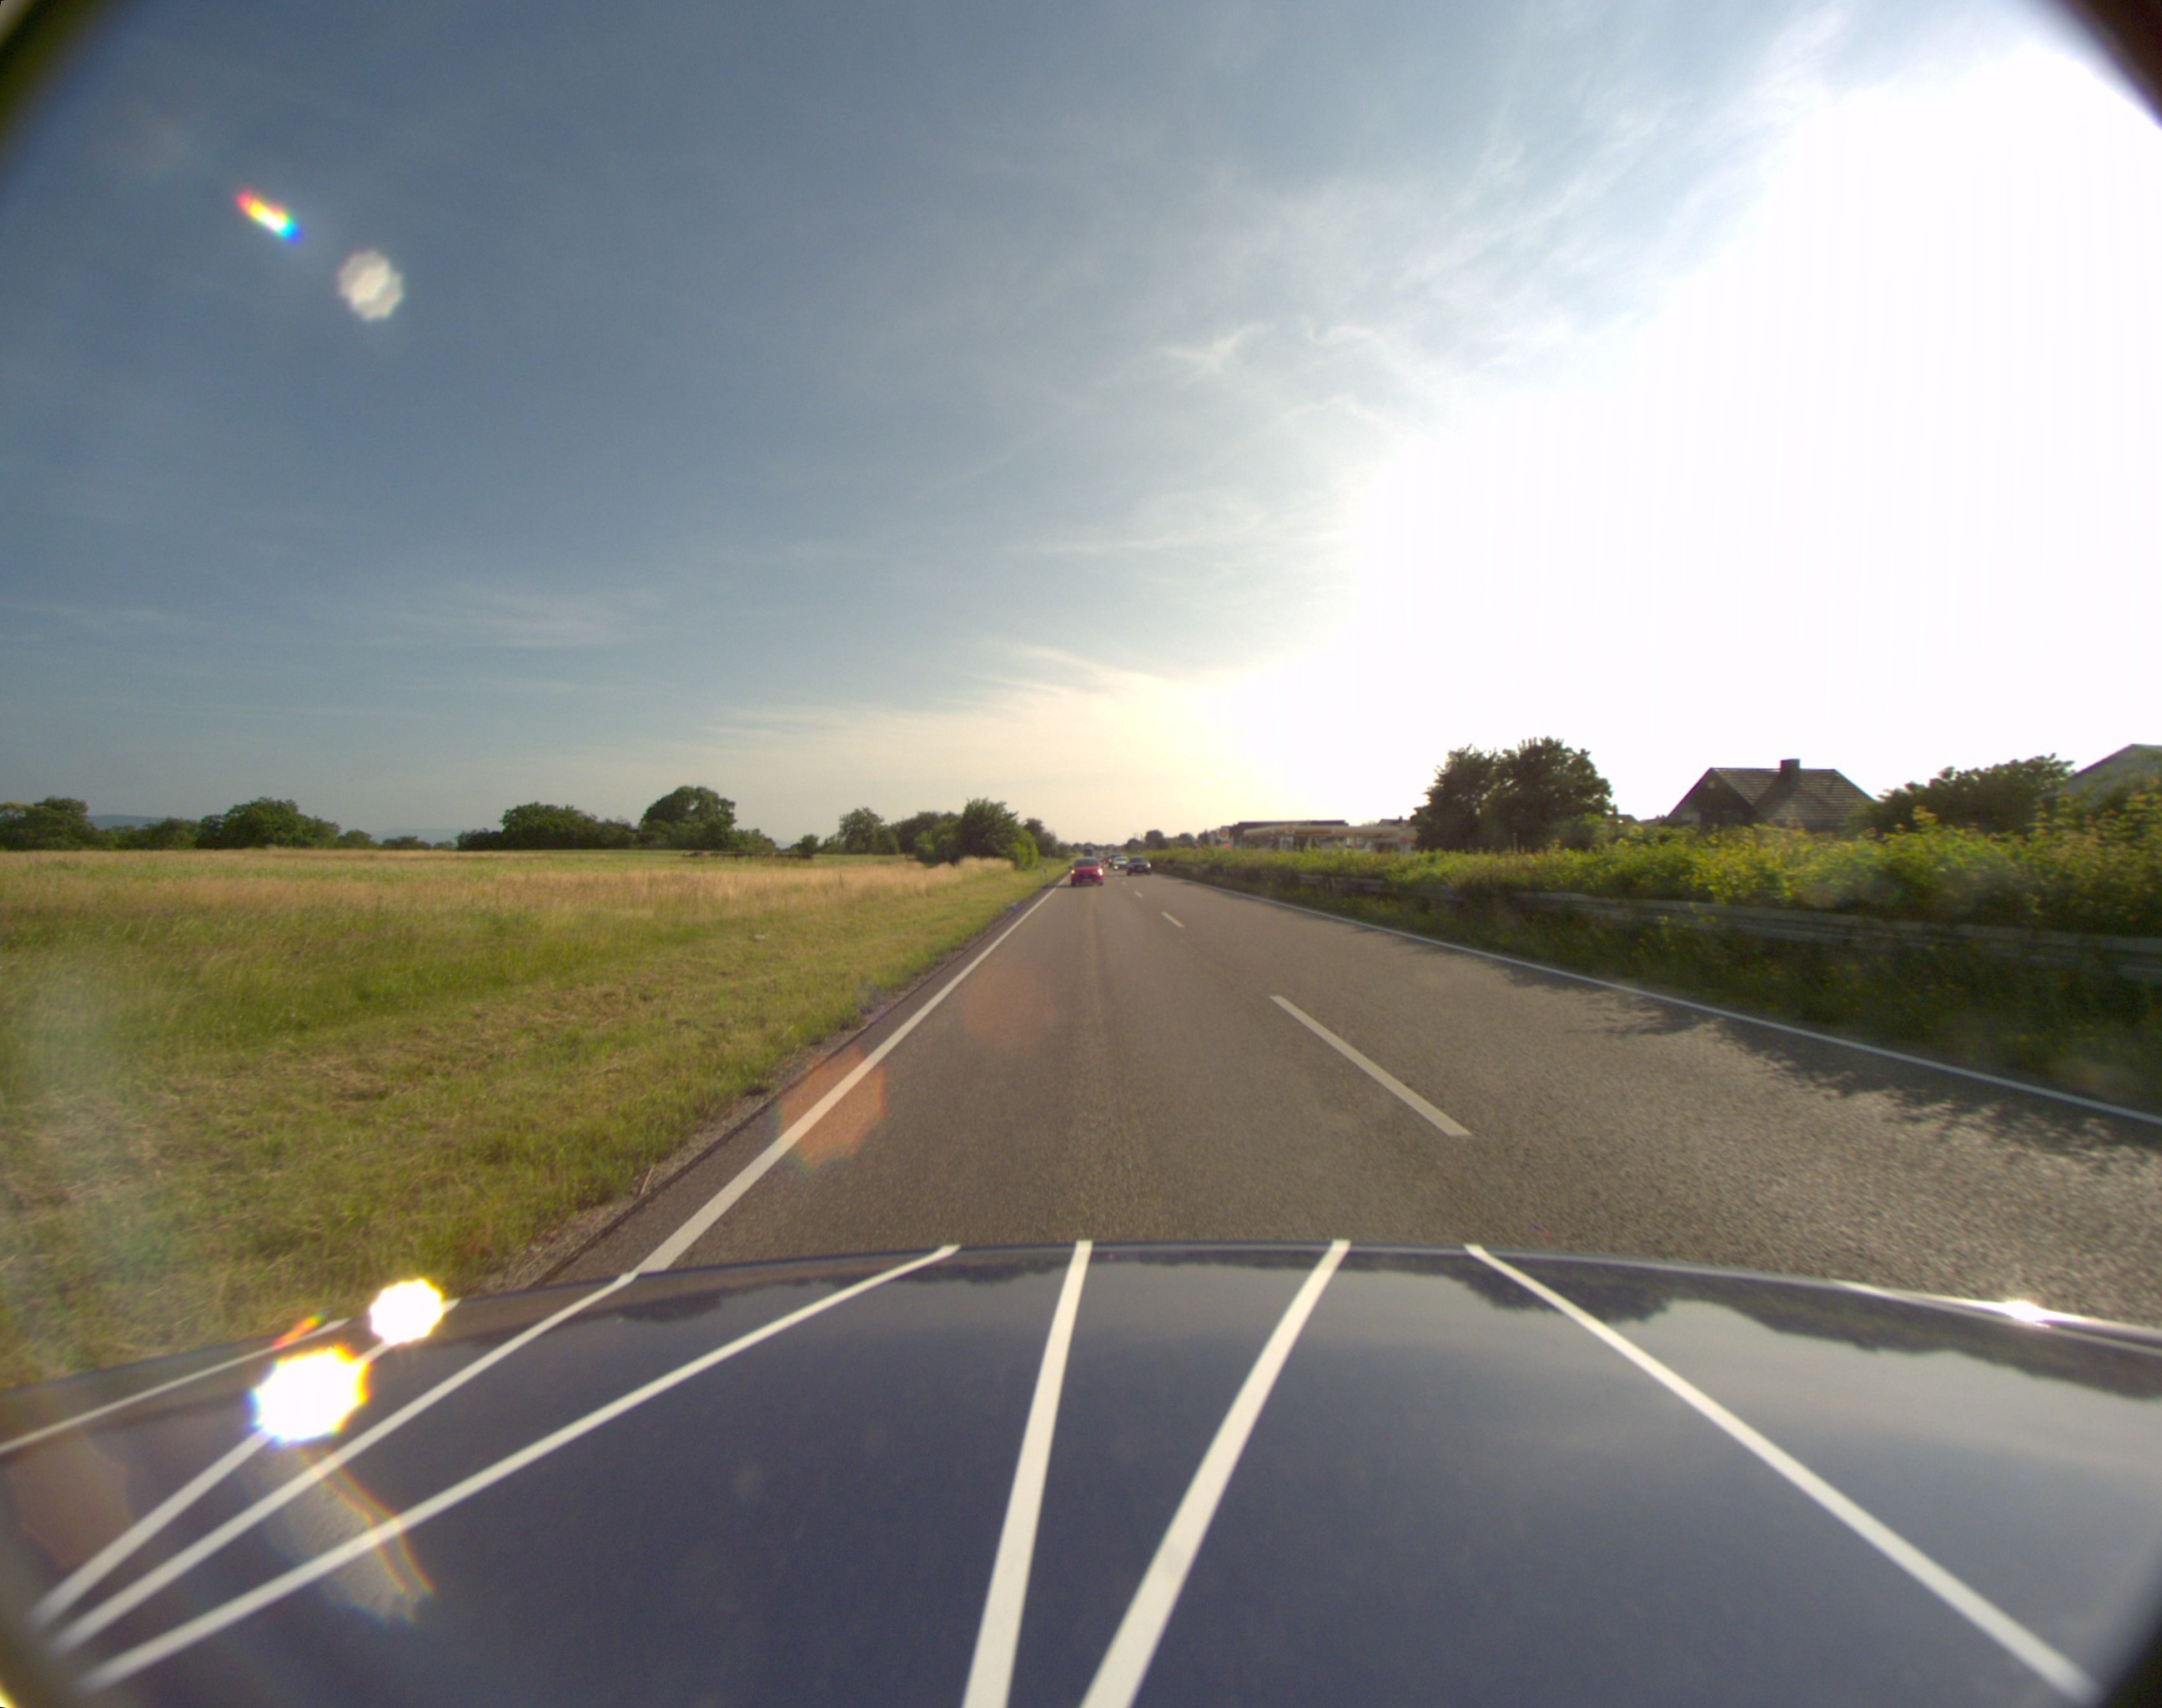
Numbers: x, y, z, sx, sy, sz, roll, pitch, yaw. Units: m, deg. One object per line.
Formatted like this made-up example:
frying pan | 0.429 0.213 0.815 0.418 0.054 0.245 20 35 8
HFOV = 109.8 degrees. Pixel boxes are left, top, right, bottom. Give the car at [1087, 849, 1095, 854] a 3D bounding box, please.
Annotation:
car | 2.881 -0.638 216.809 1.998 1.412 4.000 -2 0 2

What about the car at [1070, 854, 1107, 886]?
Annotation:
car | 0.452 0.812 41.115 1.821 1.565 4.000 -2 0 2

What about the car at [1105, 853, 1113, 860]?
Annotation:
car | 6.807 0.615 185.941 1.998 1.412 4.000 -2 0 2

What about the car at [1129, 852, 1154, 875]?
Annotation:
car | 4.671 0.706 59.229 1.693 1.695 4.000 -2 0 2

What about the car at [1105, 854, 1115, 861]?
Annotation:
car | 5.960 0.694 156.700 1.998 1.412 4.000 -2 0 2

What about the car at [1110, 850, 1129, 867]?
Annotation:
car | 4.178 0.493 83.569 1.998 1.762 4.000 -2 0 2
